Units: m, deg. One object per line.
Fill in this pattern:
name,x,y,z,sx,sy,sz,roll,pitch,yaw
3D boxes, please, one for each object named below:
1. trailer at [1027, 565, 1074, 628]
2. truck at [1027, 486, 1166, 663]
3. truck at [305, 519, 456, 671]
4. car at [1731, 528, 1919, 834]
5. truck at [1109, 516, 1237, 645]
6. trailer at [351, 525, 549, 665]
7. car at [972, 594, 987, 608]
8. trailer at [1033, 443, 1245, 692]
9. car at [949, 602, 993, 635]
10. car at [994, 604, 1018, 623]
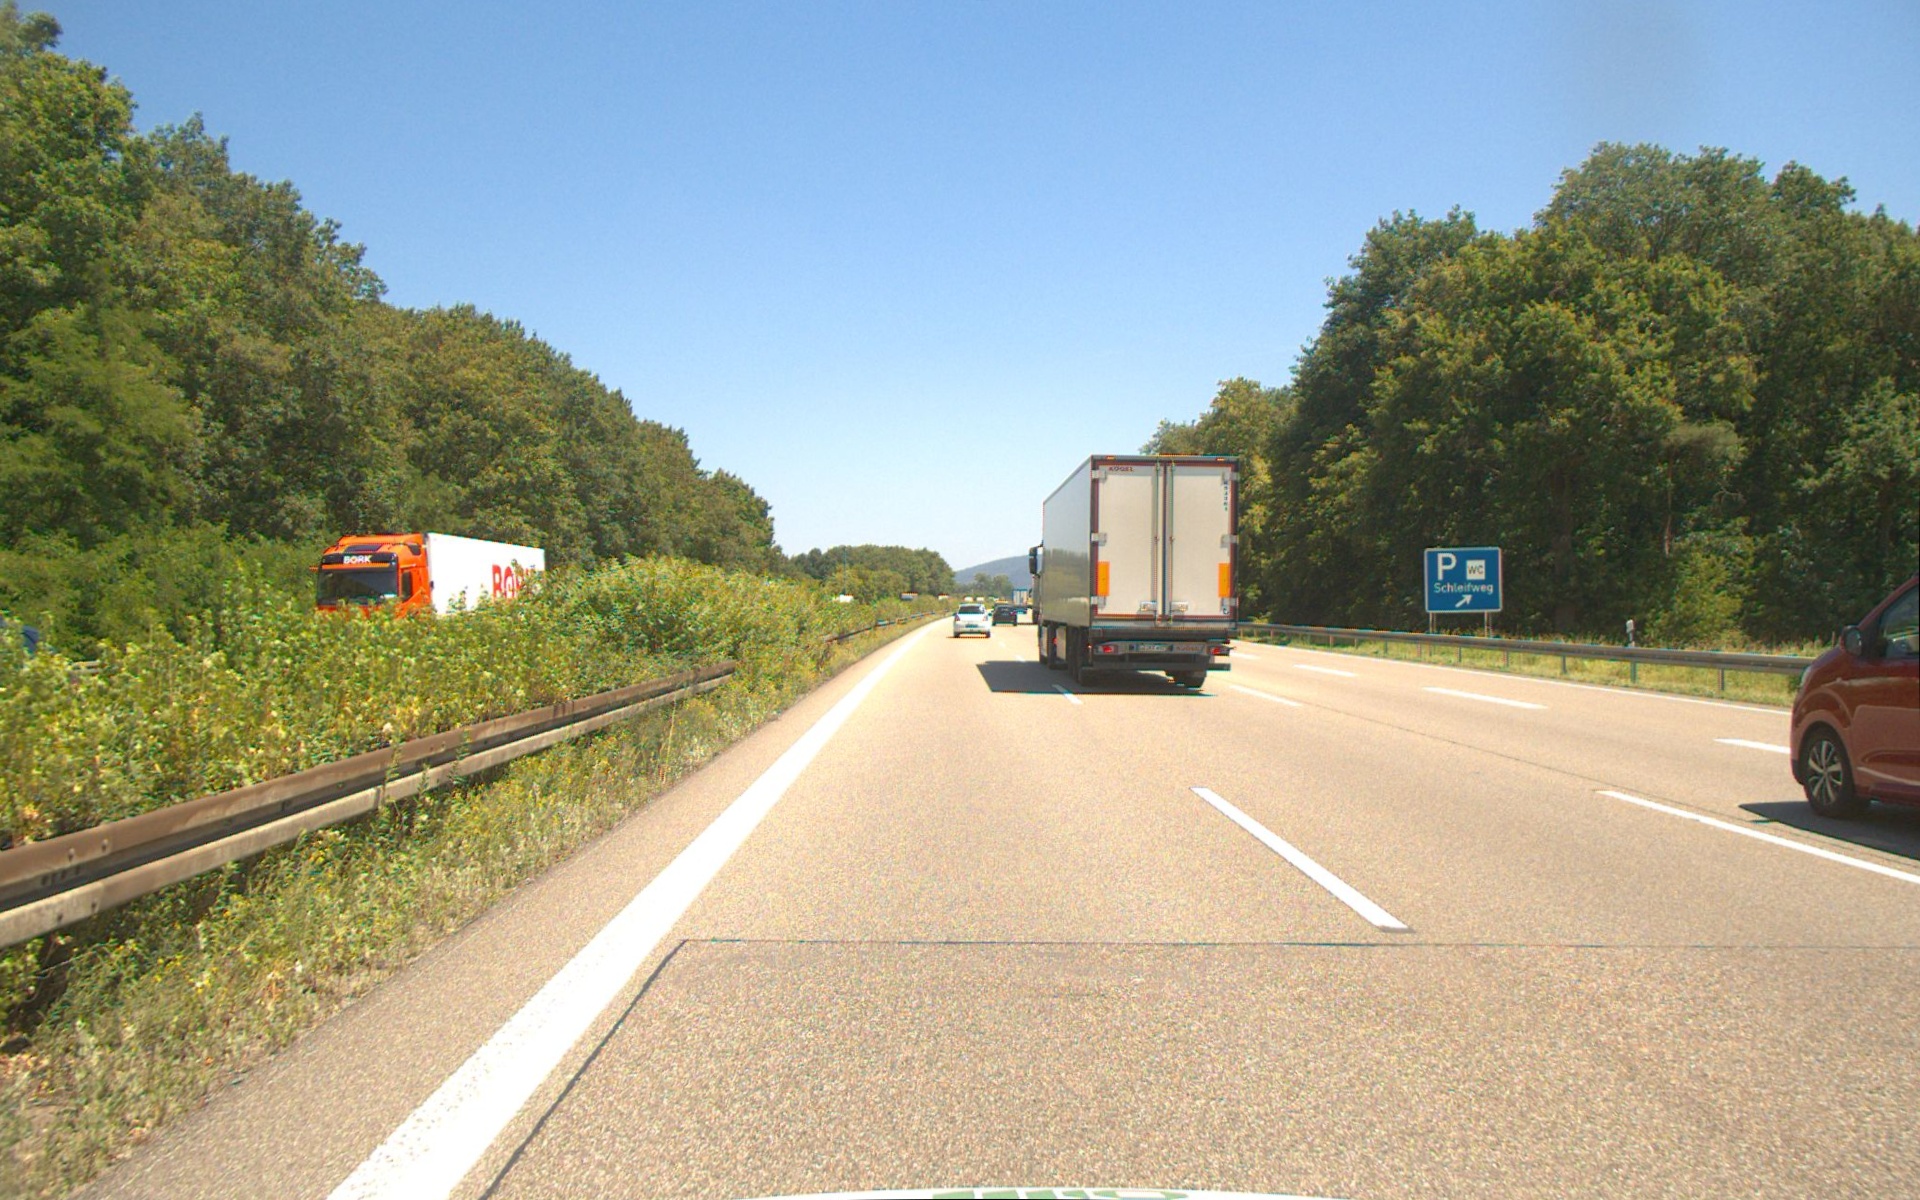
trailer,7.048,-0.274,130.696,3.116,4.708,12.050,0,0,0
truck,3.382,-0.622,42.154,3.162,4.230,4.560,0,0,0
truck,-16.369,-0.132,47.018,2.861,4.121,4.293,0,0,-1
car,7.316,0.548,10.895,1.818,2.038,5.521,1,0,-1
truck,7.826,-0.696,62.409,3.158,4.421,10.804,0,0,-1
trailer,-16.553,-0.160,54.906,2.861,4.121,12.911,0,0,-1
car,2.971,0.176,249.141,2.064,2.049,3.998,0,0,-2
trailer,3.313,-0.583,34.344,3.157,4.216,12.352,0,0,1
car,0.493,0.829,76.028,1.775,1.429,3.315,0,0,-4
car,3.321,0.928,119.077,1.633,1.312,4.002,0,0,4
